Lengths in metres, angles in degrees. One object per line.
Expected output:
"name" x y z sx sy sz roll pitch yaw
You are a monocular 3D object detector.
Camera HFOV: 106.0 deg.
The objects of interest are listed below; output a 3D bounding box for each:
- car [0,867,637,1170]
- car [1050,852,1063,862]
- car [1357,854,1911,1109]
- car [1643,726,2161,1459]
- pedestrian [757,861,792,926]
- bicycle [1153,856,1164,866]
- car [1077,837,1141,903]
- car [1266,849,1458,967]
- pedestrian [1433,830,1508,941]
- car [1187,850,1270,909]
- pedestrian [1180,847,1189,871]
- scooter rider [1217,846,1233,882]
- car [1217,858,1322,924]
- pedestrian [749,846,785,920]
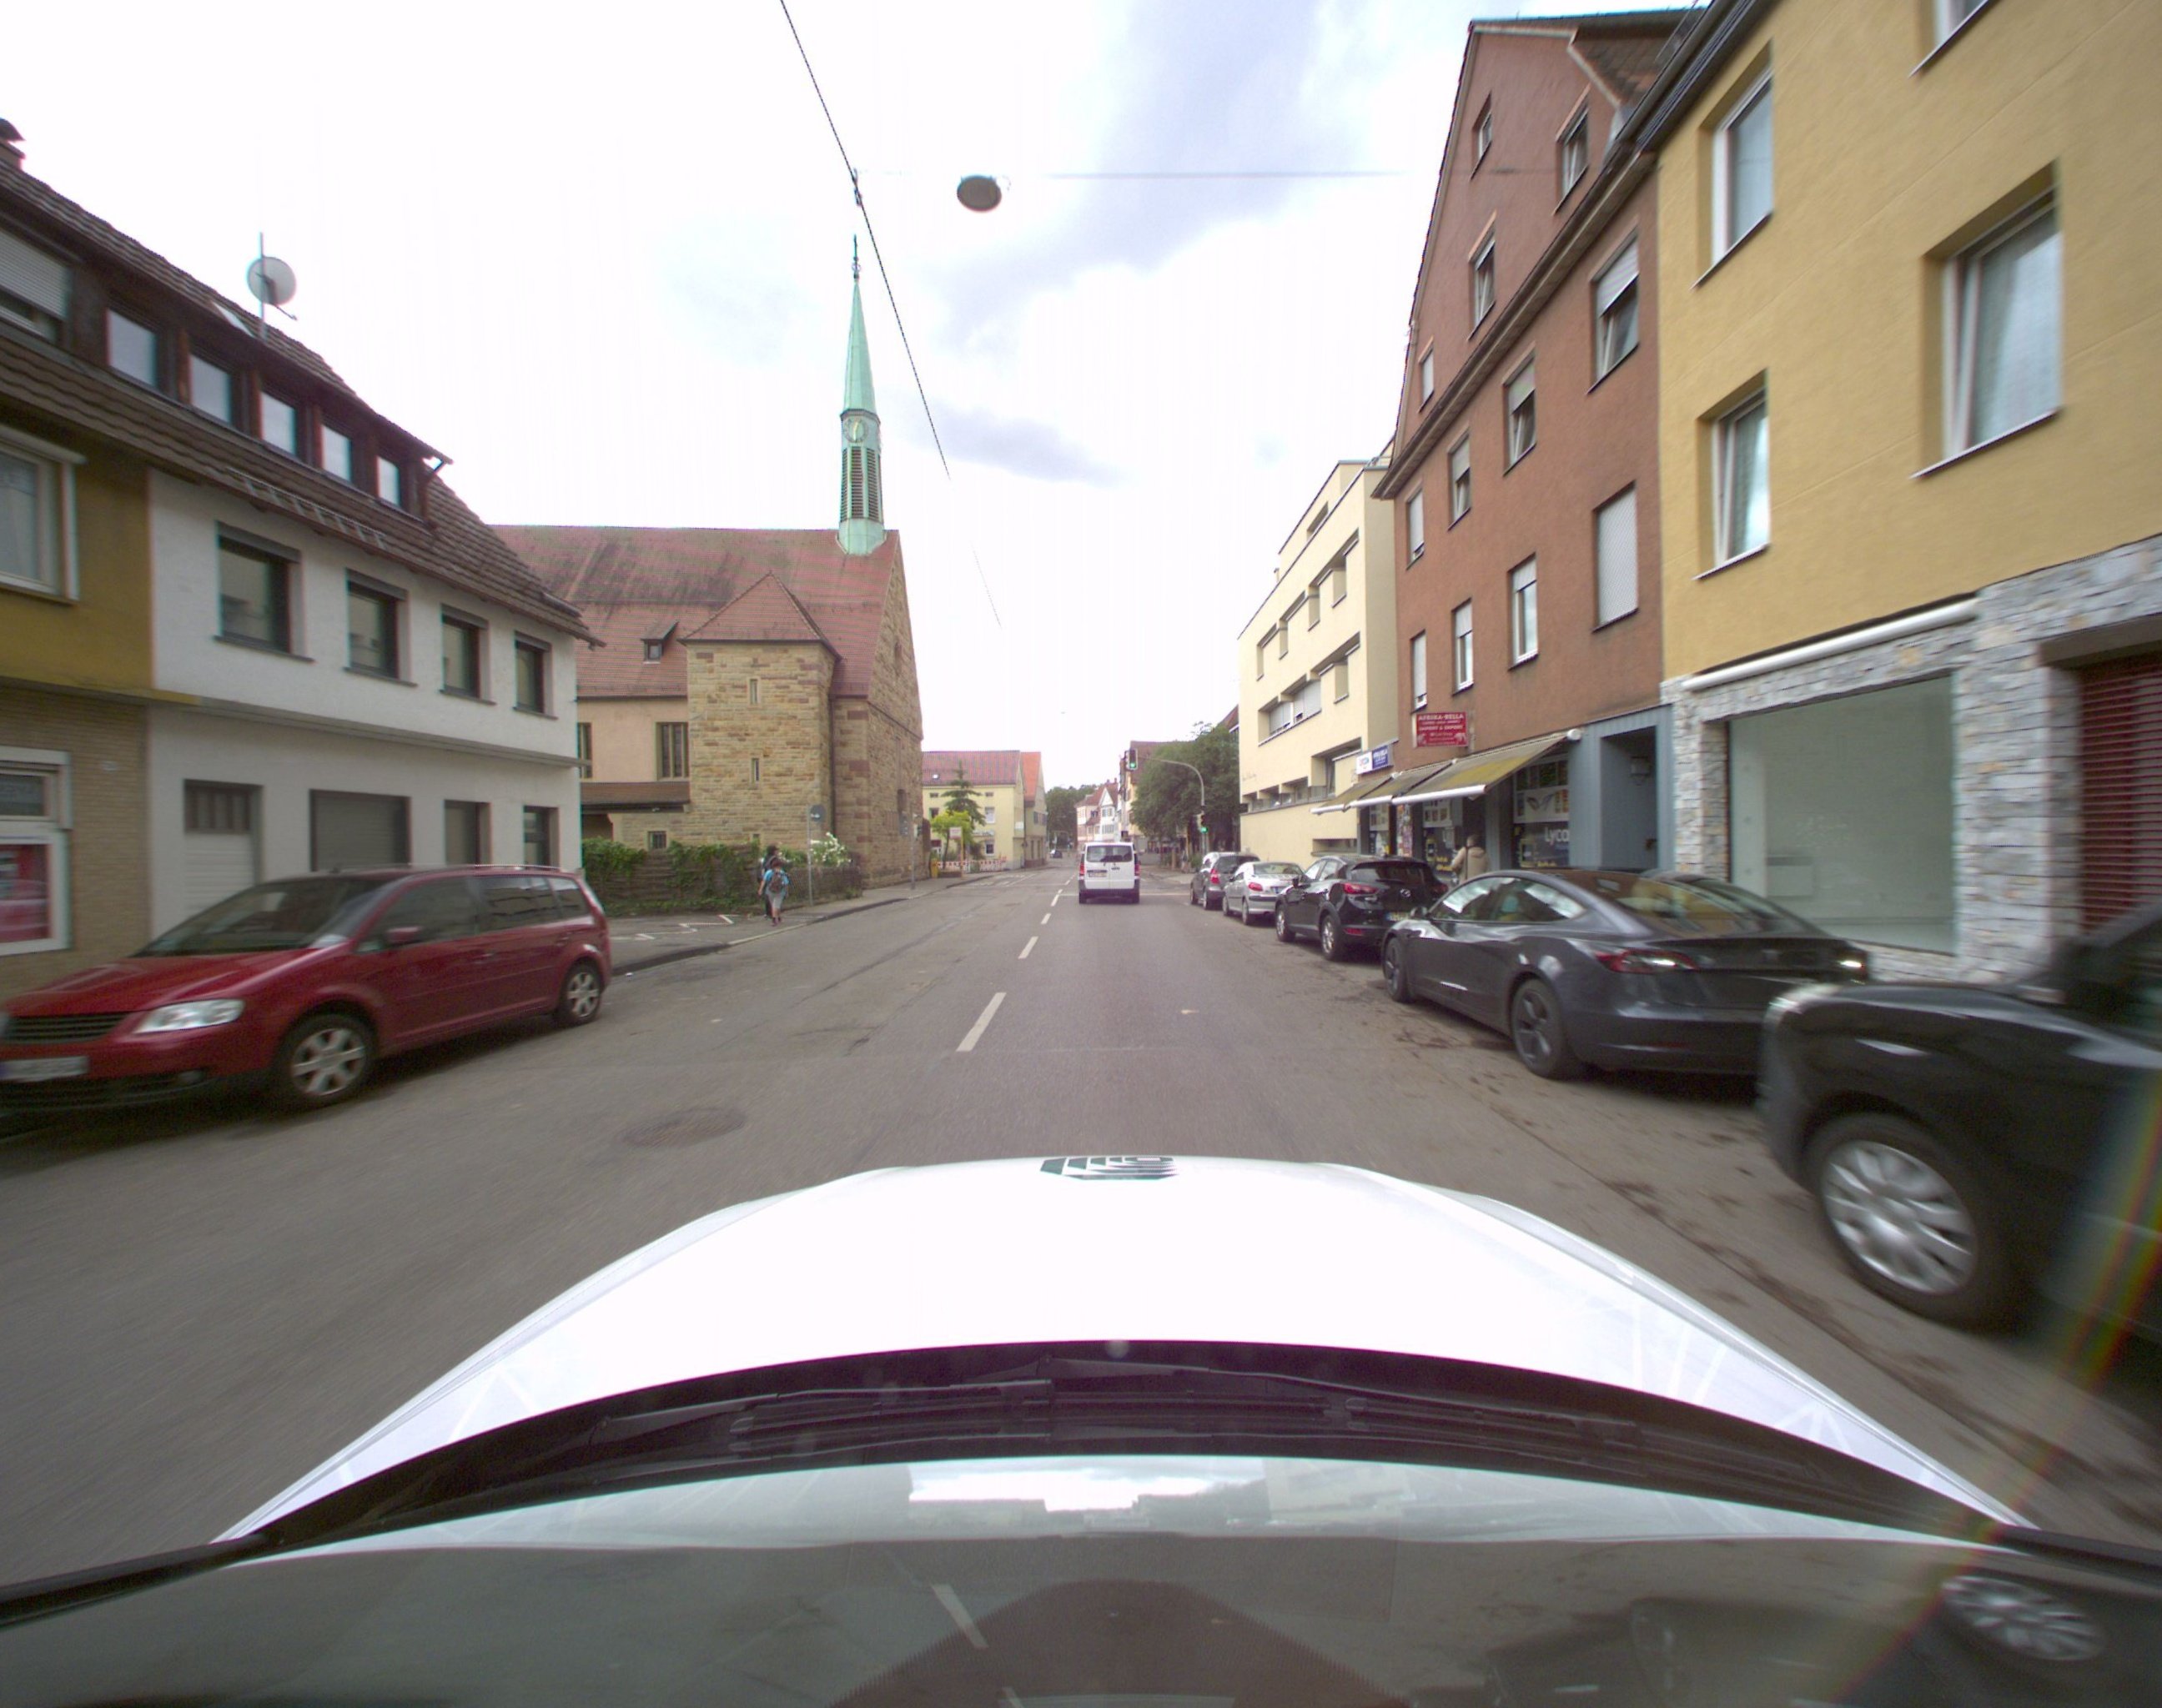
"car" -5.929 1.007 6.957 1.697 1.574 4.451 -3 1 1
"car" -5.191 0.636 171.518 1.938 2.013 3.980 0 0 -14
"car" 3.919 0.730 6.912 1.744 1.406 4.513 -2 0 2
"car" 3.529 0.571 1.589 1.814 1.781 4.402 -1 0 0
"pedestrian" -7.493 0.948 19.942 0.569 1.554 0.697 1 0 1
"bicycle" 8.044 0.723 84.768 0.501 1.106 1.627 -1 0 -19
"car" 0.892 0.491 26.078 1.865 1.912 4.002 -1 0 2
"car" 4.221 0.719 12.954 1.596 1.518 4.209 -2 0 0
"pedestrian" 6.072 0.477 12.732 0.698 1.649 0.889 -2 0 0
"car" 4.138 0.675 23.429 1.706 1.560 3.785 -1 0 0
"pedestrian" 7.455 0.377 58.687 0.599 1.715 0.862 -1 0 8
"scooter rider" 6.650 0.456 37.639 0.453 1.632 0.502 -3 -2 -14
"car" 4.222 0.768 18.760 1.546 1.333 3.812 -1 0 0
"pedestrian" -8.078 0.741 20.962 0.569 1.848 0.697 2 0 1
